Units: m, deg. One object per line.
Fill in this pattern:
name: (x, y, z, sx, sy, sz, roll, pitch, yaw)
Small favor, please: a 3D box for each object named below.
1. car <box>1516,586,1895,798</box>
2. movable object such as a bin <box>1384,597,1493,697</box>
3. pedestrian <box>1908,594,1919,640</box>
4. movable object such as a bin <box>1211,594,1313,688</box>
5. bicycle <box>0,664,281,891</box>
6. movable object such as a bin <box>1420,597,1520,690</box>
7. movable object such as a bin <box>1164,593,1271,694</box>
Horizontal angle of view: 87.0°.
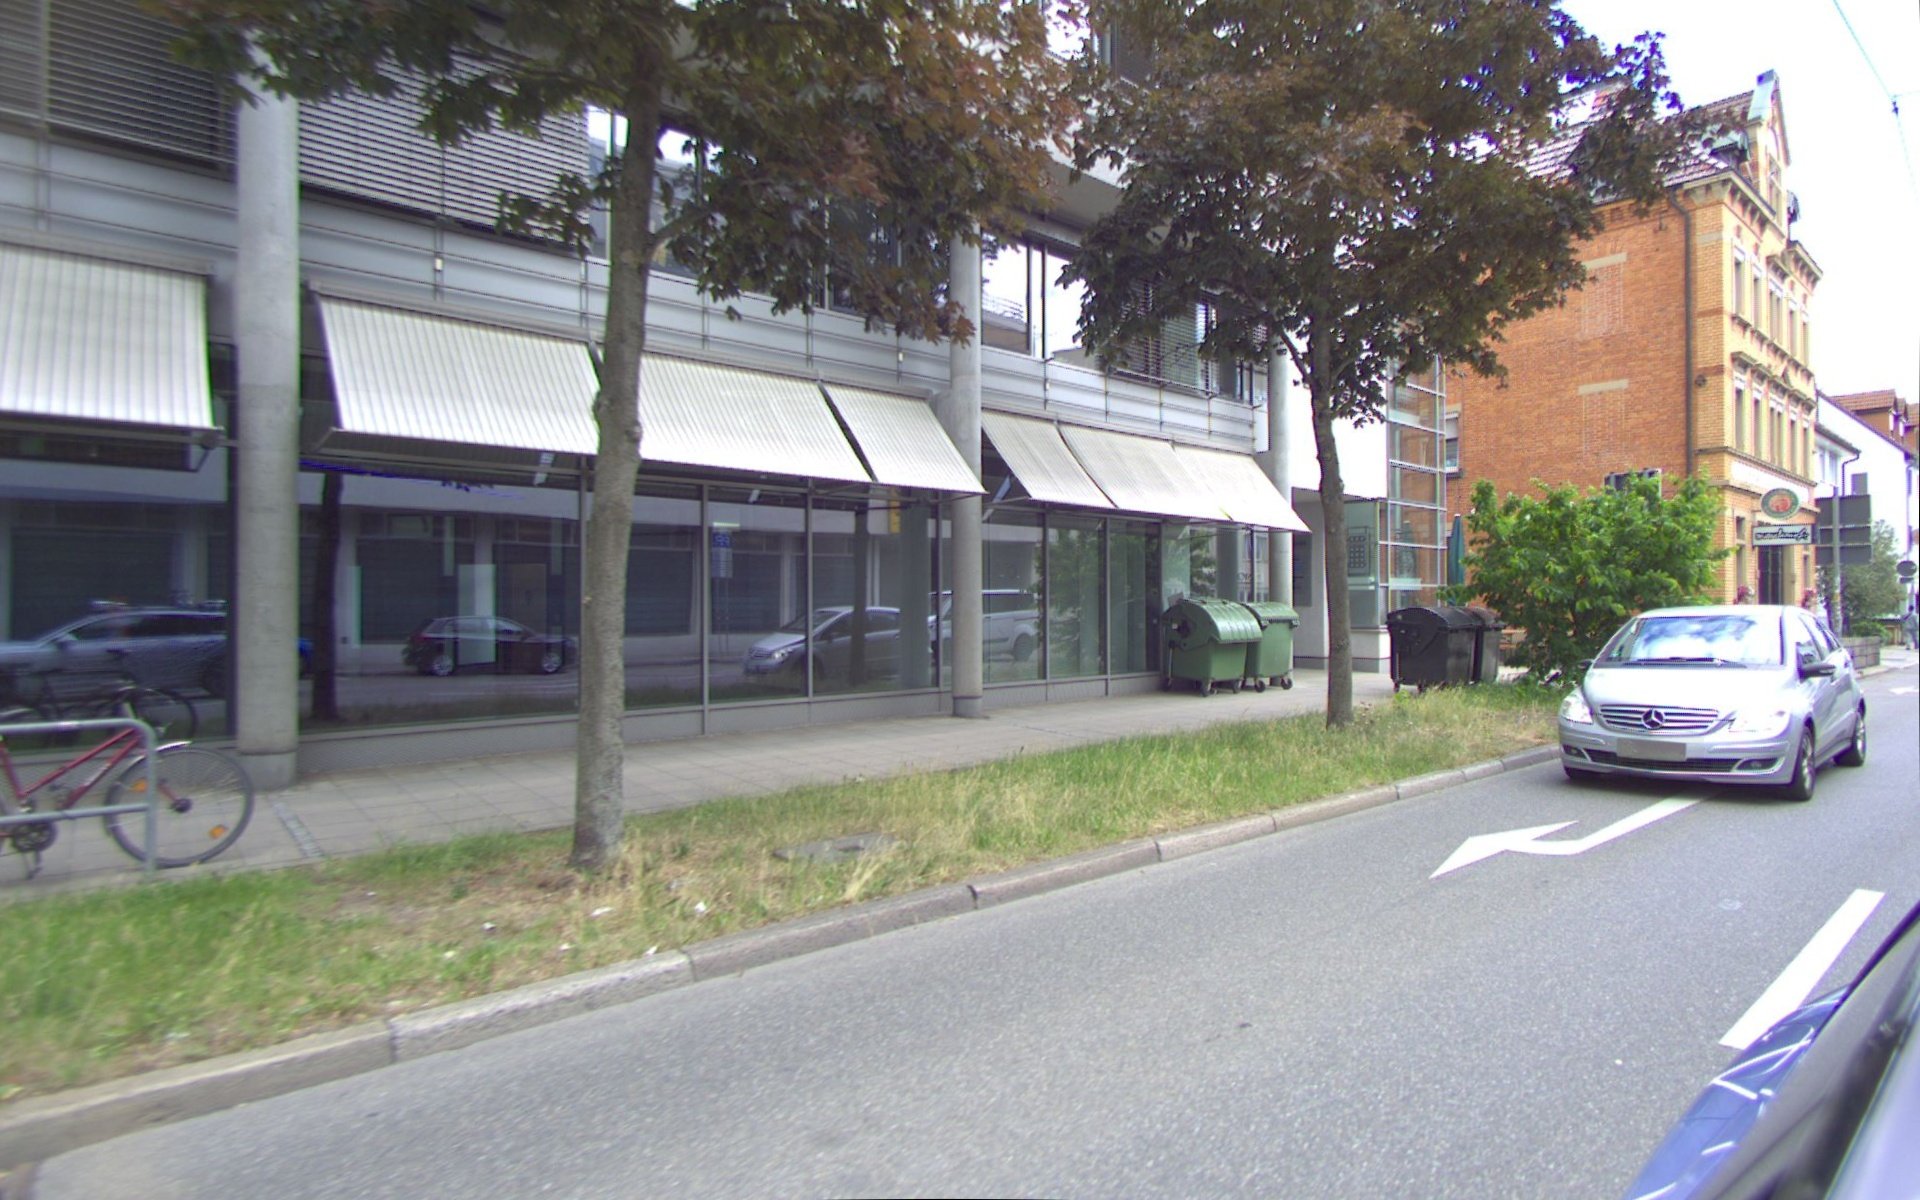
car: (7.327, 0.721, 9.768, 4.491, 1.566, 1.996, 0, -3, -41)
movable object such as a bin: (7.692, 0.713, 16.273, 1.388, 1.484, 1.129, 0, 1, -42)
pedestrian: (36.361, 0.645, 38.272, 0.639, 1.753, 0.689, 1, -1, -42)
movable object such as a bin: (5.068, 0.649, 16.983, 1.310, 1.484, 1.123, 0, 1, -42)
bicycle: (-4.909, 0.952, 5.507, 1.993, 1.100, 0.361, 0, -2, -43)
movable object such as a bin: (8.671, 0.704, 17.202, 1.310, 1.484, 1.099, 0, 1, -42)
movable object such as a bin: (4.087, 0.651, 16.073, 1.310, 1.484, 1.099, 0, 1, -42)
